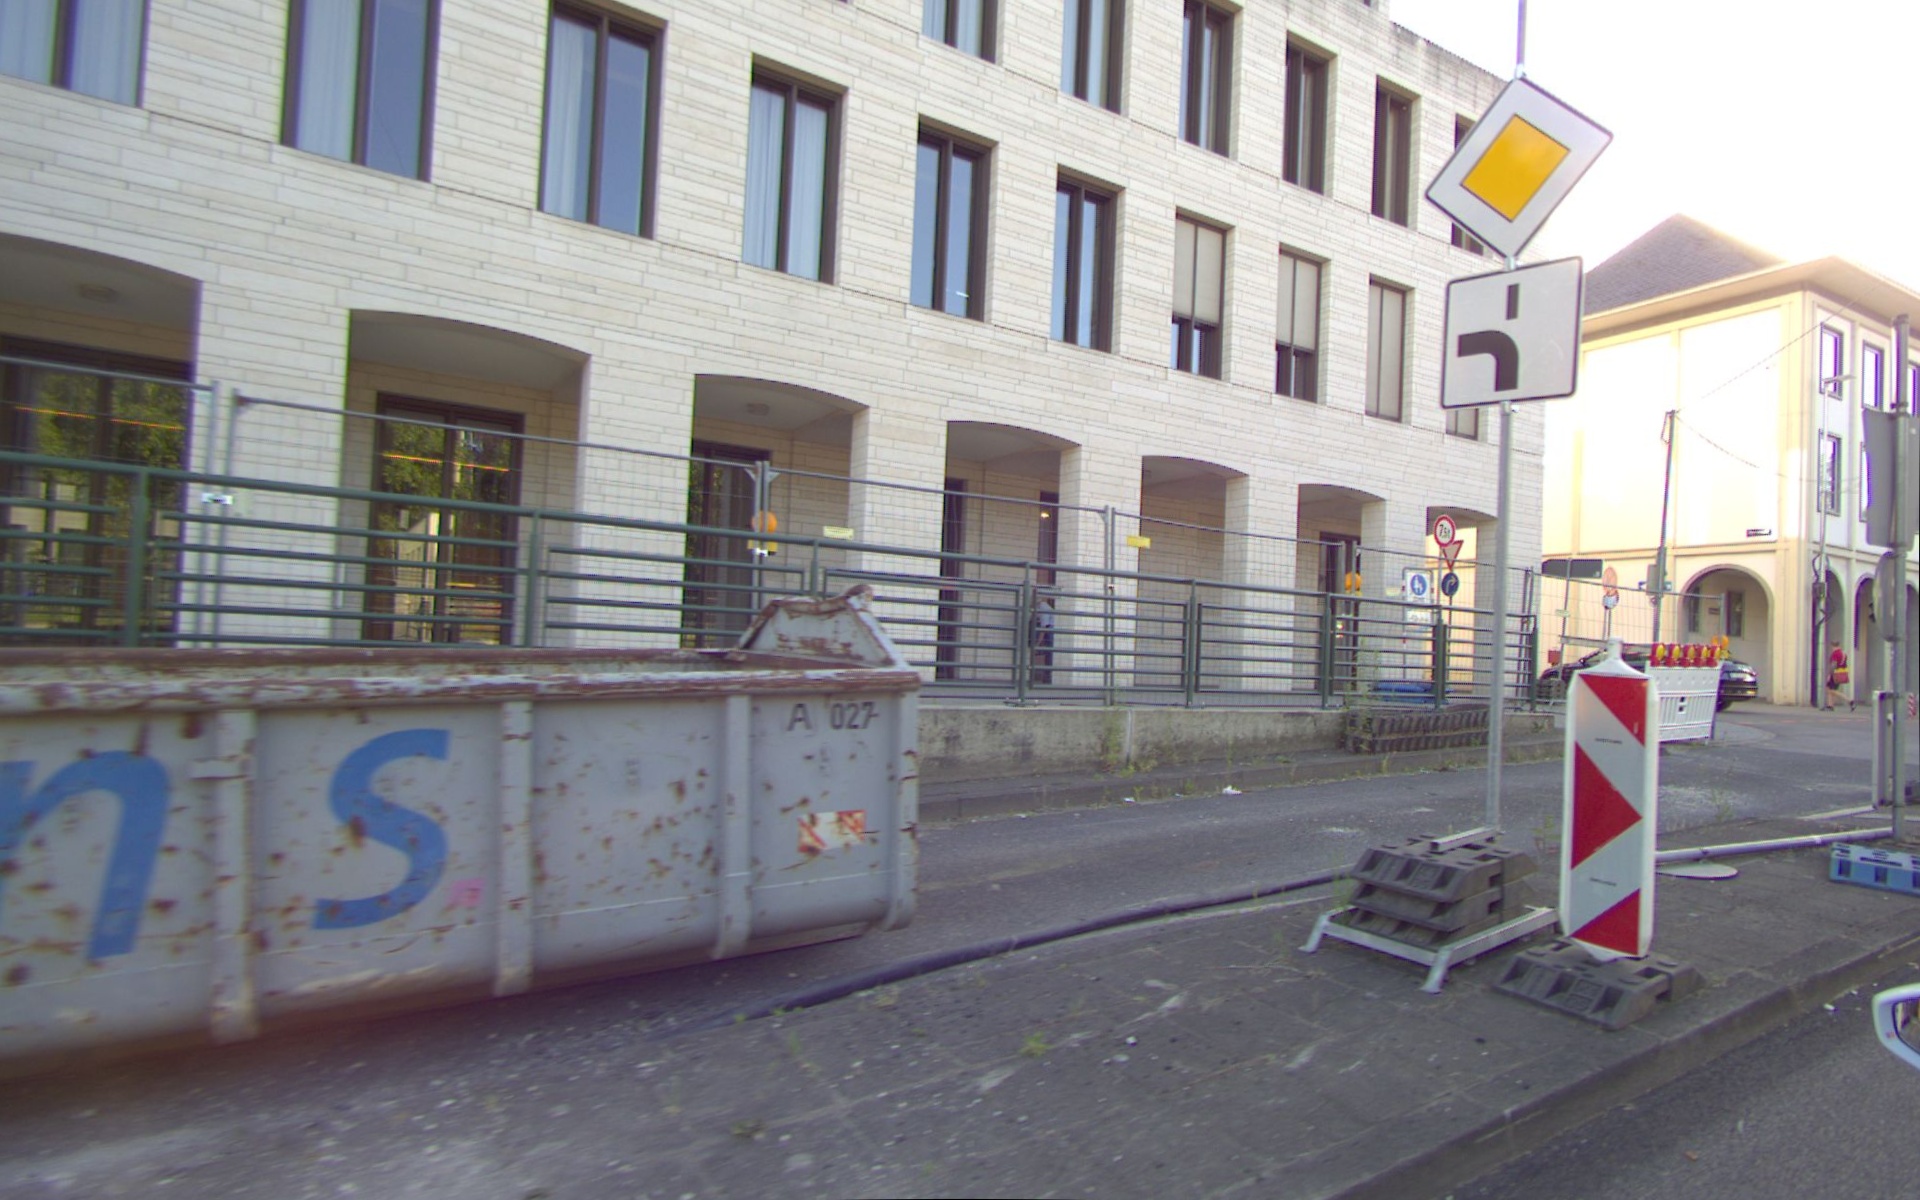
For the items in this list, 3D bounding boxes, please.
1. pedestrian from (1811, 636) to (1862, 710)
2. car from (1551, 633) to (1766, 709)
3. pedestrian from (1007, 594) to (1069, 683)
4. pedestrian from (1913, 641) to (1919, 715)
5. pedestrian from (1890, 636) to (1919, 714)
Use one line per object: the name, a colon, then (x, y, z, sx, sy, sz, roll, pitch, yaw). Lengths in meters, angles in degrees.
pedestrian: (22.272, 1.833, 25.530, 0.702, 1.826, 0.770, 0, -1, -28)
car: (16.168, 1.586, 23.523, 1.748, 1.570, 4.100, 2, -2, -10)
pedestrian: (1.363, 0.676, 17.597, 0.788, 1.507, 0.668, -1, -3, -30)
pedestrian: (23.796, 1.895, 24.262, 0.702, 1.801, 0.934, 0, -1, -28)
pedestrian: (23.199, 1.791, 24.031, 0.707, 1.826, 1.238, 0, -1, -28)
